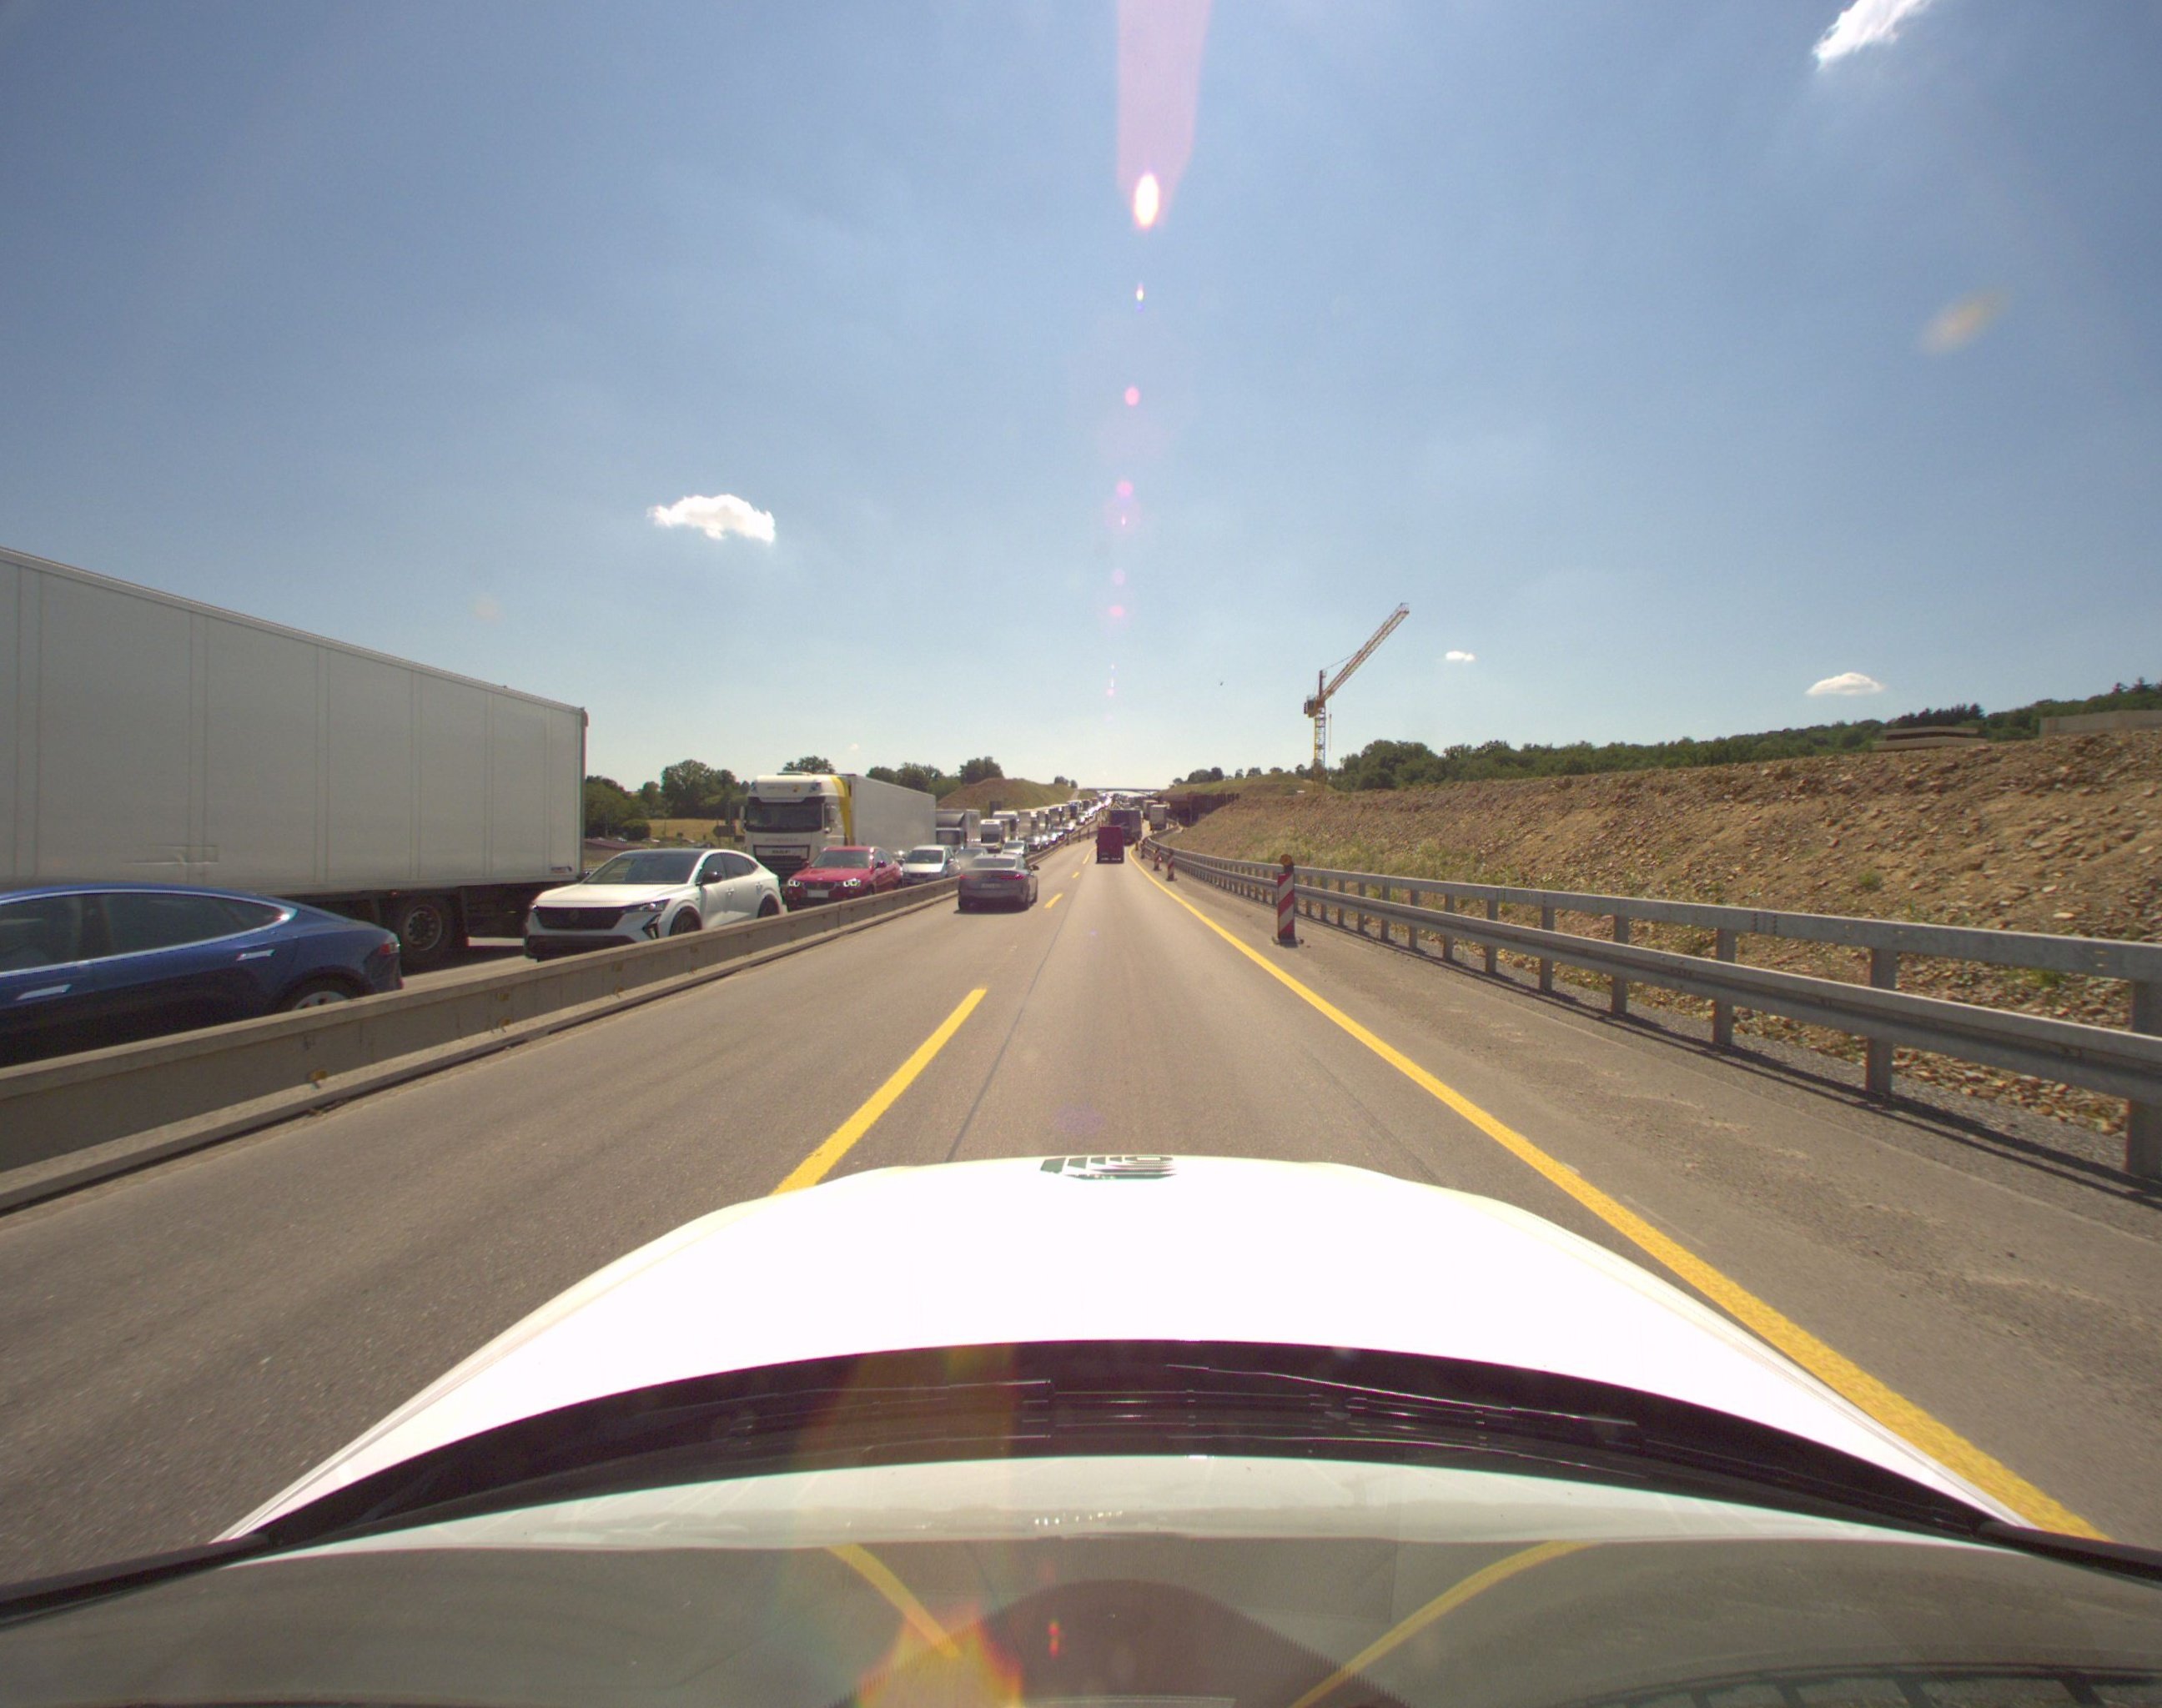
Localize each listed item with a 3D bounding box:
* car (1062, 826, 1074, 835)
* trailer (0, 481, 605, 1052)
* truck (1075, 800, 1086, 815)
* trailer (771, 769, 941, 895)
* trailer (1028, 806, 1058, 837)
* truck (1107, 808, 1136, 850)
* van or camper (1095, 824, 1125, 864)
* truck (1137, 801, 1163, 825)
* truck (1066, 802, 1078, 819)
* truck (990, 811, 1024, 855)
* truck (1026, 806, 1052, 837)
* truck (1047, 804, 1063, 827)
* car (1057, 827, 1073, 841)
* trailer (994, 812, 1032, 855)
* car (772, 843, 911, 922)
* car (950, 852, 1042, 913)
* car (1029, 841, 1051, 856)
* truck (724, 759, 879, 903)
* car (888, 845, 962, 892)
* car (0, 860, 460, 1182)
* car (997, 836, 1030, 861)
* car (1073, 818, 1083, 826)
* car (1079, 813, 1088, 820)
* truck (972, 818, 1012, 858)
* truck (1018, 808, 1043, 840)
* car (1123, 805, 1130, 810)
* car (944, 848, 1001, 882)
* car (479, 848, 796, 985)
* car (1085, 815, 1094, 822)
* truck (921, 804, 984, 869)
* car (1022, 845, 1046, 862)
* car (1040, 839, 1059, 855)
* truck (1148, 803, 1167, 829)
[{"bbox_3d":[-2.110,-3.808,129.827,1.740,1.409,4.002,0,1,2],"label":"car"},{"bbox_3d":[-9.847,-0.676,6.821,3.129,4.383,14.082,0,1,1],"label":"trailer"},{"bbox_3d":[-0.213,-12.817,226.812,2.878,3.838,8.001,0,1,0],"label":"truck"},{"bbox_3d":[-8.710,-0.808,34.208,2.975,4.208,13.950,0,1,1],"label":"trailer"},{"bbox_3d":[-5.710,-4.869,125.033,3.028,4.551,12.143,0,2,4],"label":"trailer"},{"bbox_3d":[4.930,-3.006,97.198,3.006,4.692,6.943,-2,1,5],"label":"truck"},{"bbox_3d":[2.063,-0.764,59.183,2.022,2.744,4.515,0,1,0],"label":"van or camper"},{"bbox_3d":[15.932,-9.374,187.667,5.132,4.996,13.906,-2,1,7],"label":"truck"},{"bbox_3d":[-2.108,-10.295,193.031,2.878,3.838,8.001,0,1,0],"label":"truck"},{"bbox_3d":[-7.293,-2.114,81.339,2.541,4.230,6.534,0,2,2],"label":"truck"},{"bbox_3d":[-6.121,-4.736,118.990,3.039,4.480,5.986,0,2,3],"label":"truck"},{"bbox_3d":[-4.582,-6.816,144.795,2.674,3.838,7.386,0,1,0],"label":"truck"},{"bbox_3d":[-2.169,-2.671,108.280,1.987,1.782,4.001,0,1,1],"label":"car"},{"bbox_3d":[-7.113,-2.212,86.870,2.585,4.256,12.475,0,1,2],"label":"trailer"},{"bbox_3d":[-5.775,0.599,20.314,1.987,1.631,4.759,1,2,1],"label":"car"},{"bbox_3d":[-2.174,0.675,22.186,1.844,1.452,4.744,0,0,2],"label":"car"},{"bbox_3d":[-4.273,-0.585,85.678,1.895,1.376,4.549,-3,2,2],"label":"car"},{"bbox_3d":[-8.870,-0.701,26.697,2.967,4.184,5.875,0,1,1],"label":"truck"},{"bbox_3d":[-5.568,0.485,29.559,1.820,1.574,4.001,0,0,1],"label":"car"},{"bbox_3d":[-6.100,0.840,4.187,1.806,1.437,5.122,1,1,1],"label":"car"},{"bbox_3d":[-4.756,-0.401,58.056,1.820,1.651,4.548,-1,0,1],"label":"car"},{"bbox_3d":[-0.575,-6.161,158.915,1.945,1.530,4.270,0,1,2],"label":"car"},{"bbox_3d":[0.541,-8.250,178.935,1.945,1.530,4.270,0,1,2],"label":"car"},{"bbox_3d":[-7.339,-1.388,68.105,2.426,3.148,7.025,-1,2,0],"label":"truck"},{"bbox_3d":[-6.359,-3.777,103.485,2.773,3.869,5.461,0,0,0],"label":"truck"},{"bbox_3d":[14.292,-14.586,255.536,1.945,1.640,4.270,0,1,2],"label":"car"},{"bbox_3d":[-5.175,0.509,39.355,1.985,1.557,4.341,0,0,3],"label":"car"},{"bbox_3d":[-6.135,0.735,12.138,1.987,1.620,4.882,0,0,1],"label":"car"},{"bbox_3d":[2.020,-8.544,195.207,1.945,1.530,4.270,0,1,2],"label":"car"},{"bbox_3d":[-8.146,-1.131,52.783,2.516,3.855,8.673,0,1,1],"label":"truck"},{"bbox_3d":[-4.295,-0.051,75.320,1.820,1.535,4.548,-1,0,1],"label":"car"},{"bbox_3d":[-3.691,-0.829,95.626,1.987,1.783,3.999,0,-2,1],"label":"car"},{"bbox_3d":[13.239,-6.536,140.091,3.022,4.100,7.099,-1,0,7],"label":"truck"}]
